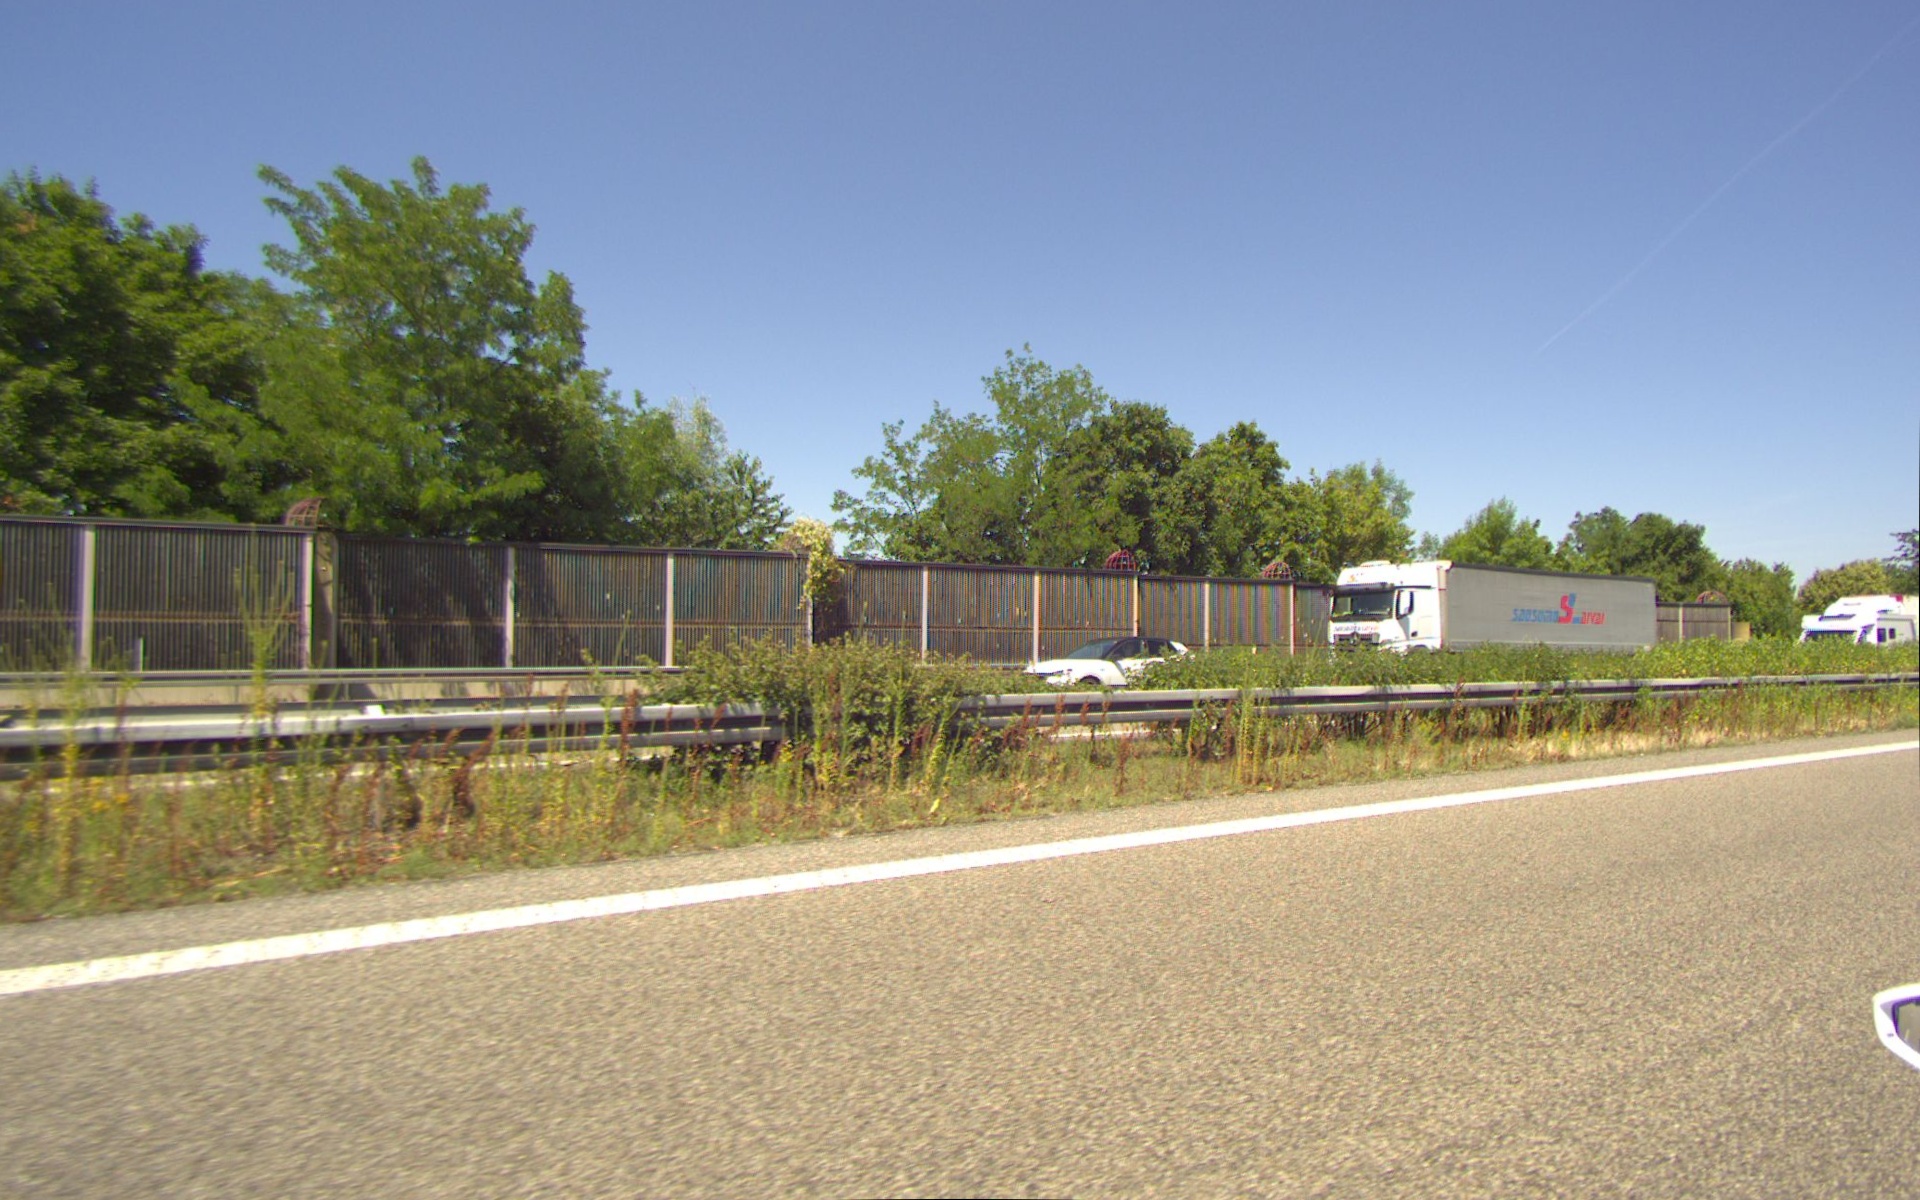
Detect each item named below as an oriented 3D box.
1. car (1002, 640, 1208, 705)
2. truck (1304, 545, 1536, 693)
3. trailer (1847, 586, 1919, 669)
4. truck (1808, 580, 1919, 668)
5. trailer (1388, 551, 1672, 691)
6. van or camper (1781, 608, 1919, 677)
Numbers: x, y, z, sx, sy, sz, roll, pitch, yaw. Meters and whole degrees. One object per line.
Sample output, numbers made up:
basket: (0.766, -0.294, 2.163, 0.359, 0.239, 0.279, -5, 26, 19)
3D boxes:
car: (2.996, 1.446, 20.505, 4.031, 1.171, 1.618, 2, -1, -30)
truck: (15.540, 0.685, 33.795, 7.778, 4.498, 3.202, 2, -1, -30)
trailer: (53.351, 1.549, 55.501, 12.077, 4.229, 2.828, 2, 0, -30)
truck: (47.284, 1.244, 51.970, 7.624, 4.263, 2.829, 1, 0, -30)
trailer: (21.449, 0.867, 37.312, 12.800, 4.537, 3.151, 2, -1, -30)
van or camper: (36.607, 1.709, 40.951, 7.324, 2.611, 2.454, 2, -1, -30)
